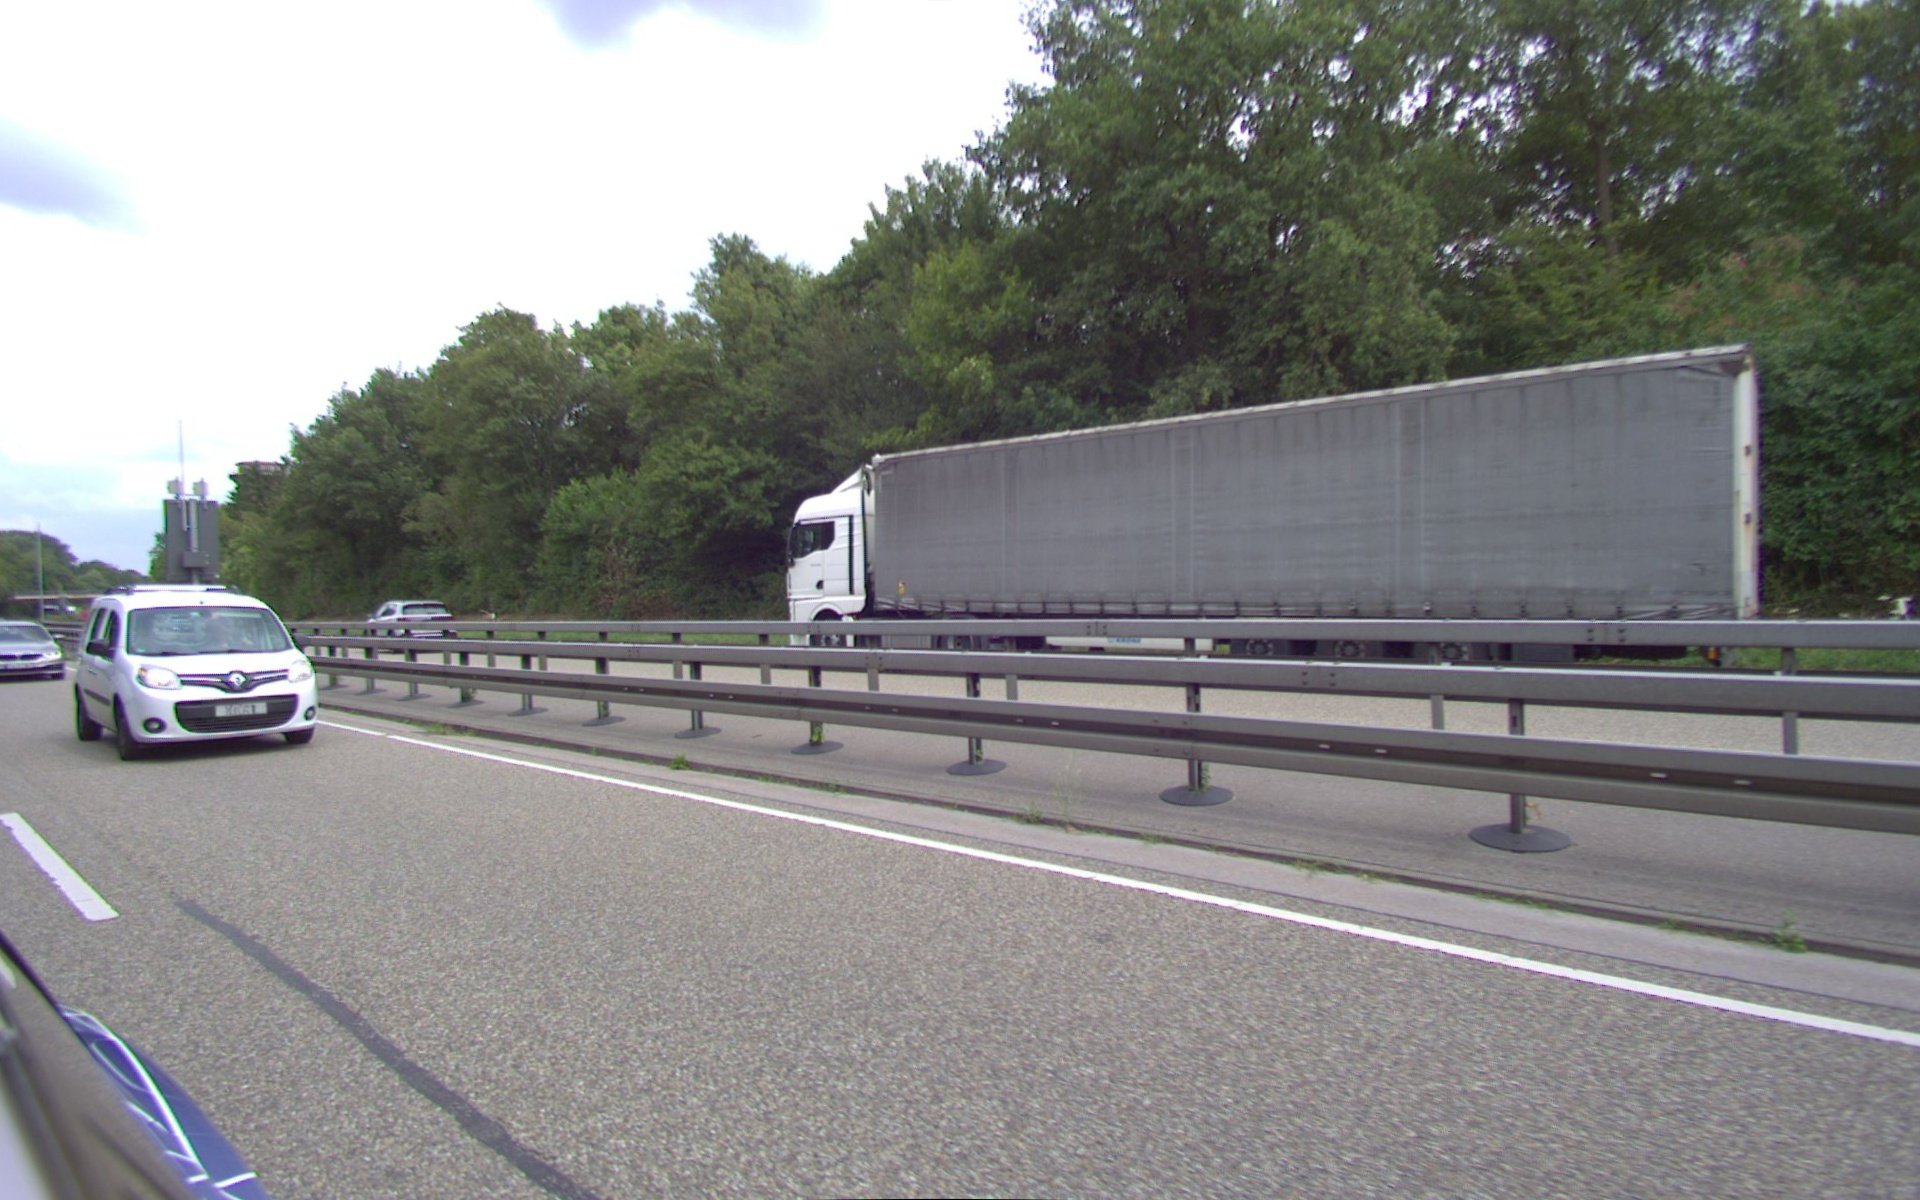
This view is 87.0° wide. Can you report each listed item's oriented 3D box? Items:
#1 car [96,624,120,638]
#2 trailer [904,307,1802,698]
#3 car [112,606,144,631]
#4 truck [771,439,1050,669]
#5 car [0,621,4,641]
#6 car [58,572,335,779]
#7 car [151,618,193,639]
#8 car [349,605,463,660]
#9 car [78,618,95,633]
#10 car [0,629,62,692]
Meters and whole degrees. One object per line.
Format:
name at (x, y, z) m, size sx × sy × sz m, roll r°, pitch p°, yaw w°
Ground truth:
car at (-94.112, 3.400, 111.754) m, size 4.091 × 1.478 × 1.675 m, roll -1°, pitch -1°, yaw 44°
trailer at (4.685, -0.910, 15.743) m, size 12.863 × 4.077 × 2.636 m, roll -1°, pitch -1°, yaw 41°
car at (-79.808, 1.794, 97.083) m, size 1.913 × 2.339 × 5.308 m, roll 0°, pitch -1°, yaw -44°
truck at (-1.116, -0.767, 20.721) m, size 5.318 × 4.094 × 2.665 m, roll -1°, pitch -1°, yaw 40°
car at (-91.279, 2.937, 95.319) m, size 1.790 × 1.864 × 4.004 m, roll 0°, pitch -1°, yaw -43°
car at (-9.174, 0.776, 12.019) m, size 4.421 × 2.020 × 1.798 m, roll -1°, pitch -1°, yaw 42°
car at (-59.385, 2.122, 76.221) m, size 4.133 × 1.492 × 1.971 m, roll -1°, pitch -1°, yaw 44°
car at (-16.817, 0.949, 30.629) m, size 4.127 × 1.561 × 1.773 m, roll -1°, pitch -1°, yaw 42°
car at (-133.692, 3.856, 154.895) m, size 2.040 × 2.273 × 5.383 m, roll 0°, pitch -1°, yaw -41°
car at (-23.721, 1.464, 25.058) m, size 4.197 × 1.435 × 1.749 m, roll -1°, pitch -1°, yaw 42°
